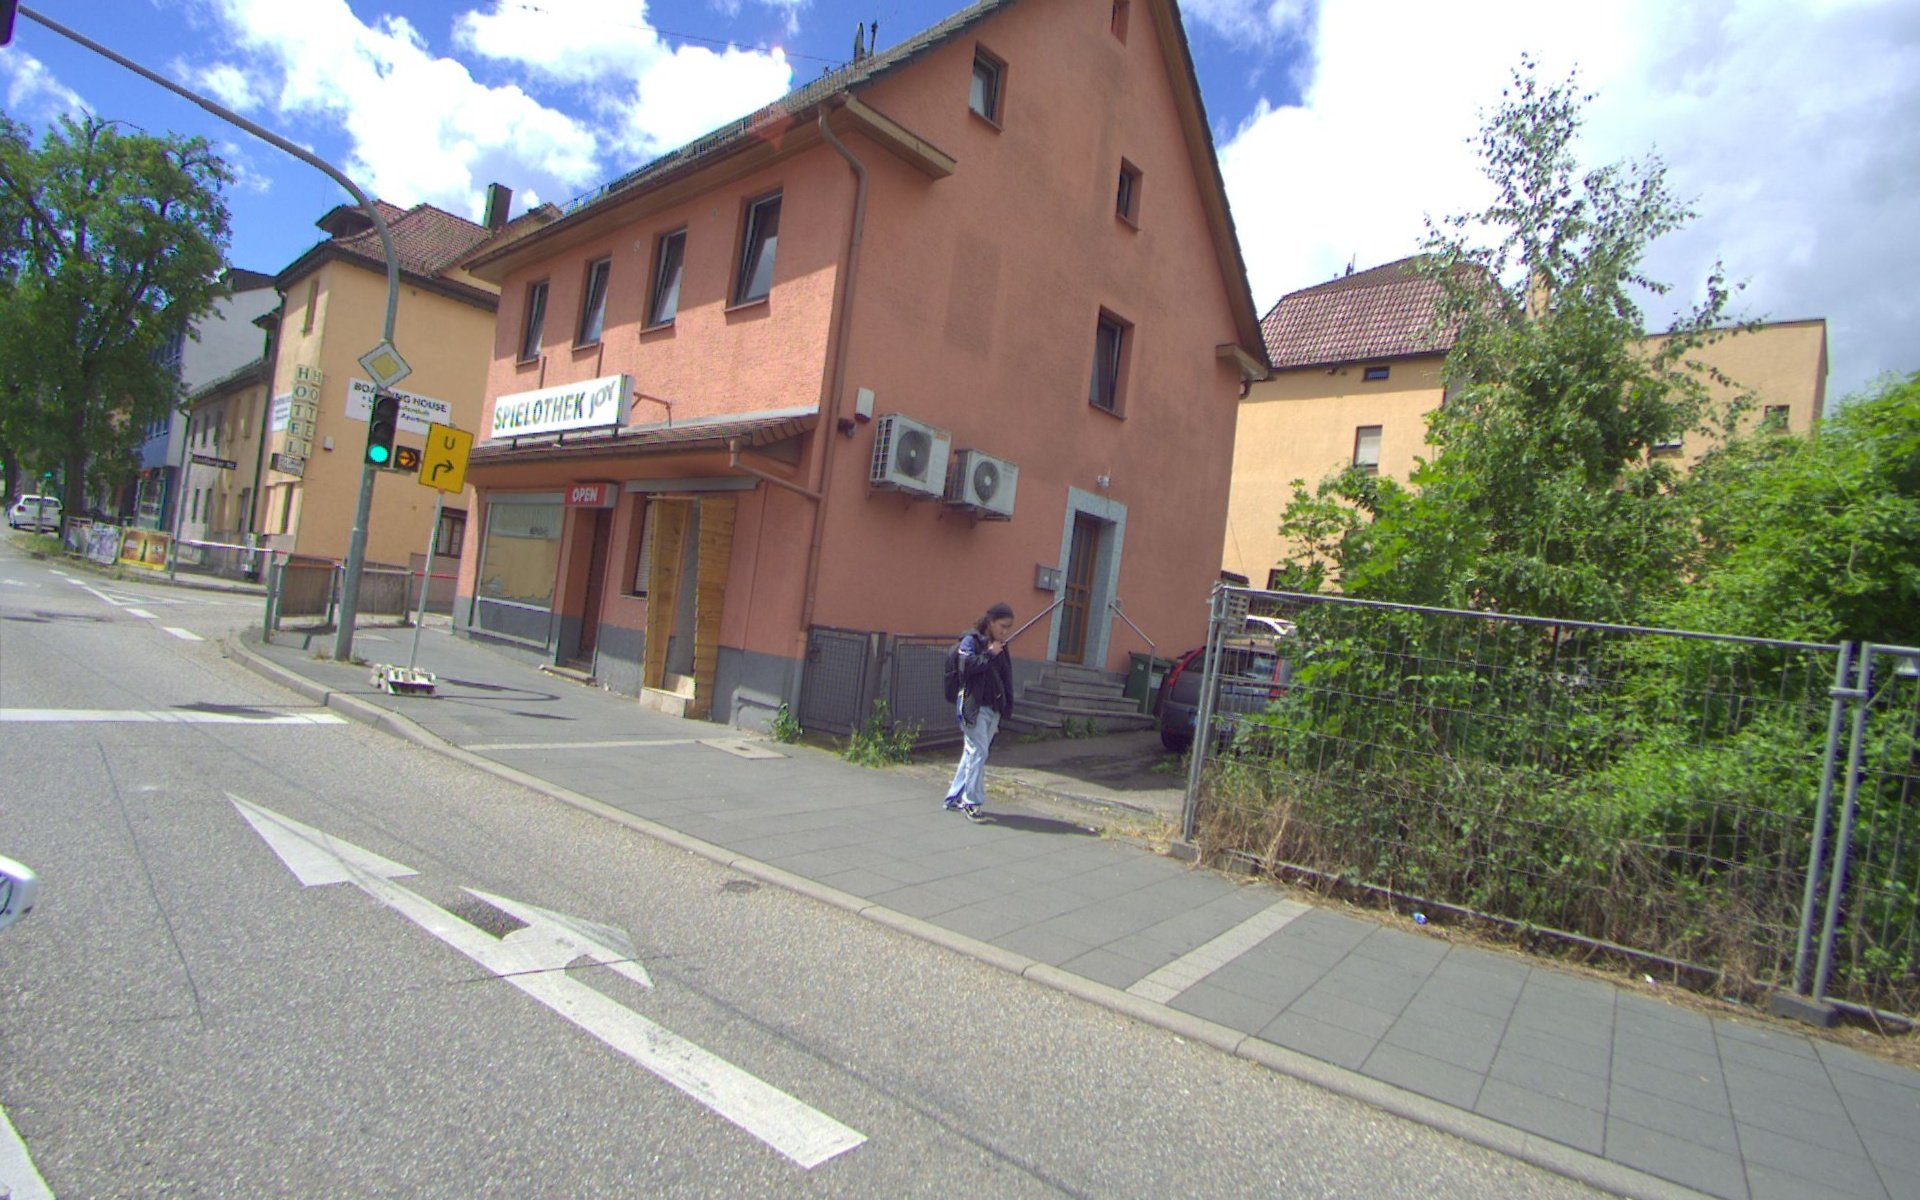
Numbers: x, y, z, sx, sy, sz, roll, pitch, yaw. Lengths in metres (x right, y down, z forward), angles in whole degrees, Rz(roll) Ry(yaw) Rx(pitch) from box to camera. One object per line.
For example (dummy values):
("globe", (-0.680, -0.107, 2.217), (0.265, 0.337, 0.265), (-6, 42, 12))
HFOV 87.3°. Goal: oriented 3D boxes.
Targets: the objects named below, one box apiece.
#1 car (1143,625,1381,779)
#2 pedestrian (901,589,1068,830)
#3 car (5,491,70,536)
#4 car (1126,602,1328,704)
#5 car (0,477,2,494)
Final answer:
("car", (3.793, 1.195, 12.479), (1.627, 1.516, 2.796), (7, 2, 43))
("pedestrian", (0.185, 0.819, 7.714), (0.767, 1.663, 0.762), (9, 1, 43))
("car", (-39.464, -3.680, 43.004), (1.782, 1.615, 3.950), (7, -1, -45))
("car", (6.210, 1.215, 23.645), (3.947, 1.804, 1.990), (7, -1, 44))
("car", (-84.058, -10.023, 86.610), (1.807, 1.486, 3.957), (8, -1, -38))
